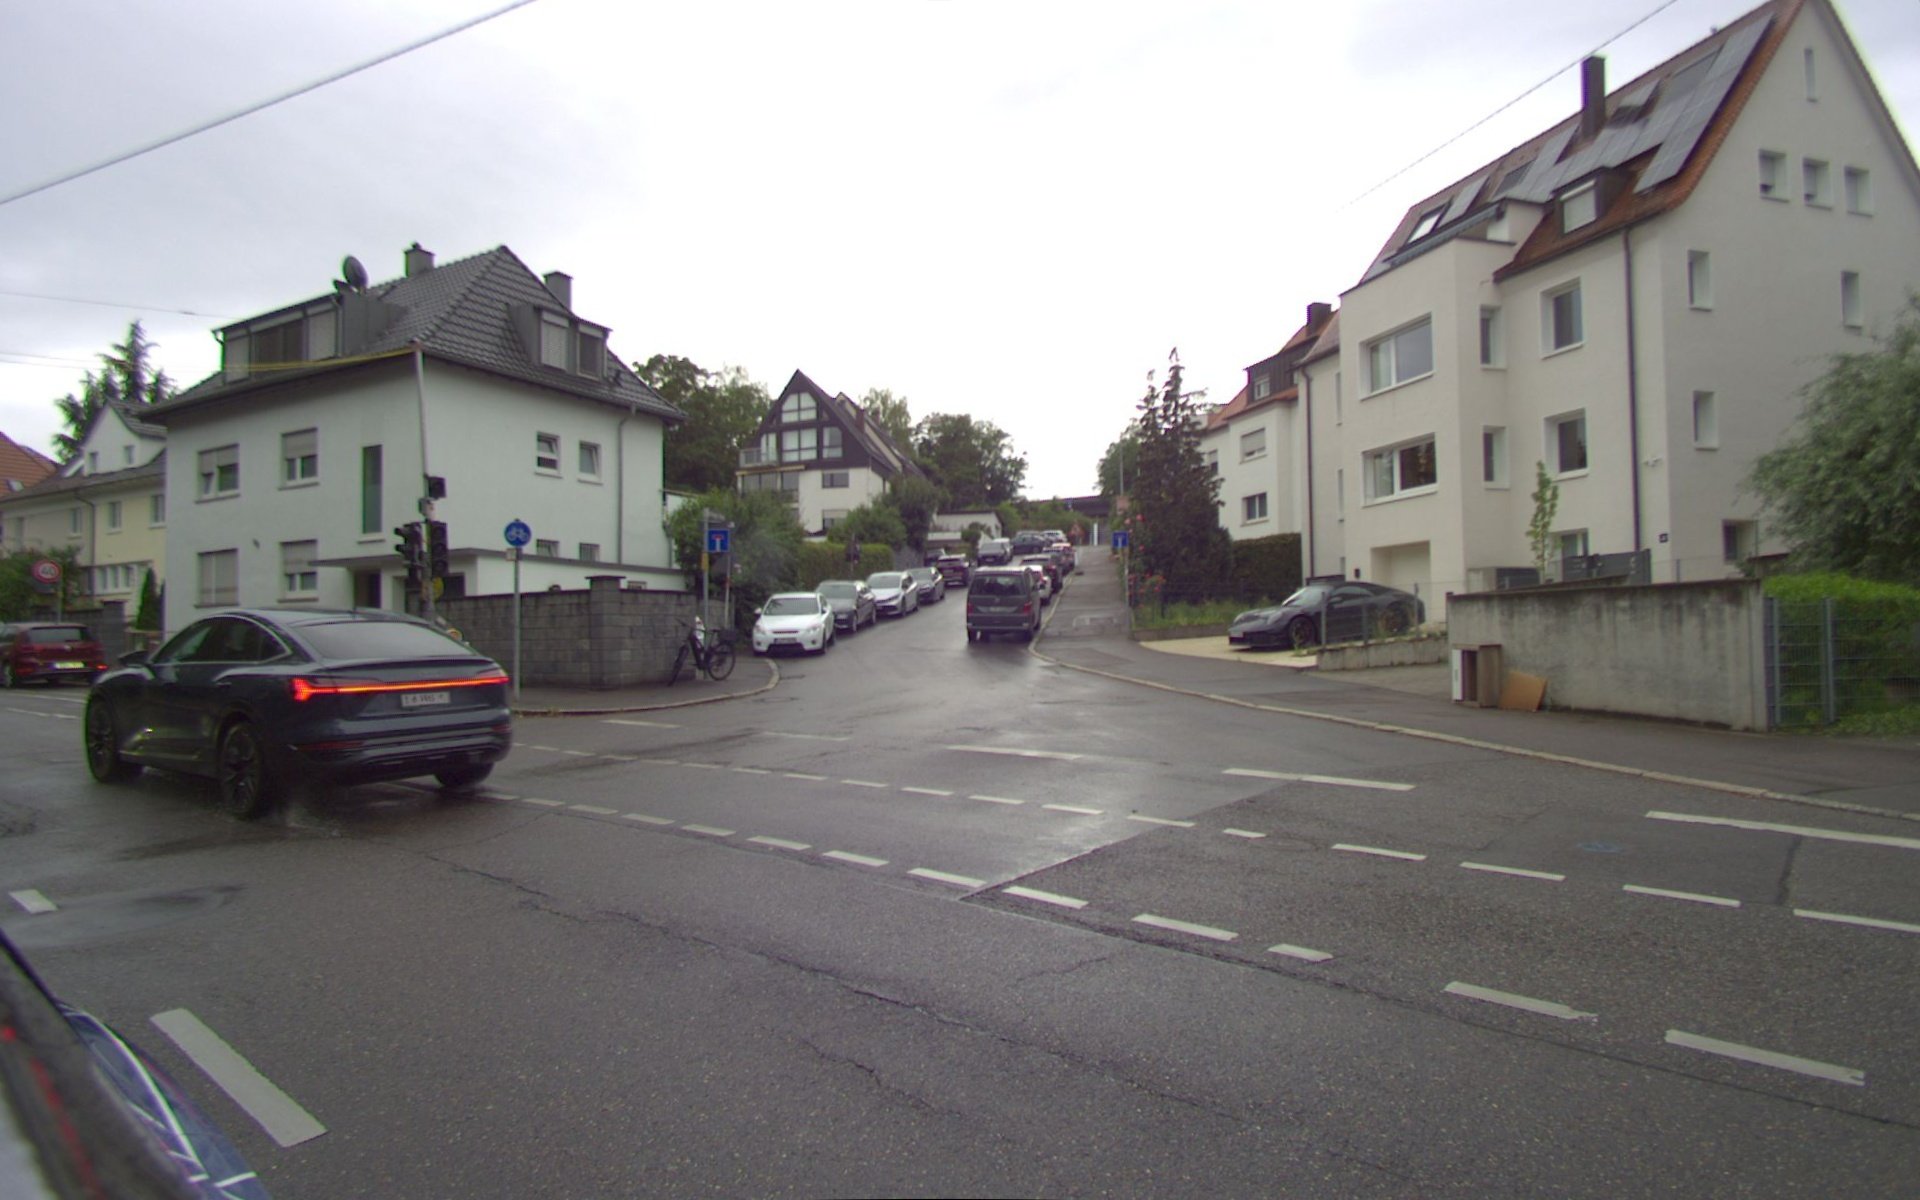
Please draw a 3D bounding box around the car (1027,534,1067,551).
[{"bbox_3d":[8.939,-5.898,103.911,3.782,1.529,1.664,-1,-1,15],"label":"car"}]

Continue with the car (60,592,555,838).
[{"bbox_3d":[-5.947,0.820,9.055,4.674,1.686,1.978,-1,0,33],"label":"car"}]

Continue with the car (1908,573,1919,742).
[{"bbox_3d":[10.602,0.423,8.545,3.934,1.497,1.780,-2,-1,-12],"label":"car"}]

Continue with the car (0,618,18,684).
[{"bbox_3d":[-26.155,1.321,25.772,4.131,1.653,1.782,-1,-1,25],"label":"car"}]

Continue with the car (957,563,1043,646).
[{"bbox_3d":[1.241,0.051,29.322,1.978,2.028,4.482,-1,4,9],"label":"car"}]

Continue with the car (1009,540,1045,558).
[{"bbox_3d":[5.553,-4.197,83.651,2.914,1.328,1.282,-1,0,4],"label":"car"}]

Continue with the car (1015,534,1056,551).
[{"bbox_3d":[7.391,-5.588,98.786,3.922,1.528,1.748,-1,0,6],"label":"car"}]

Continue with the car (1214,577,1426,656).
[{"bbox_3d":[7.705,0.334,21.769,3.942,1.290,1.613,-5,1,-13],"label":"car"}]

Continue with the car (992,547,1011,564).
[{"bbox_3d":[3.058,-3.325,74.708,1.292,1.206,2.980,-1,3,5],"label":"car"}]

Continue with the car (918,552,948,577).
[{"bbox_3d":[-1.827,-2.417,69.790,1.793,1.566,4.009,-1,0,3],"label":"car"}]

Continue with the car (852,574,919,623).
[{"bbox_3d":[-2.659,-0.083,37.084,1.738,1.481,3.940,-1,4,6],"label":"car"}]

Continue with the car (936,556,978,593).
[{"bbox_3d":[-0.115,-1.361,52.462,1.623,1.637,3.992,-1,5,8],"label":"car"}]

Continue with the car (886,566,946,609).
[{"bbox_3d":[-1.808,-0.552,42.957,1.903,1.448,4.100,-1,5,7],"label":"car"}]

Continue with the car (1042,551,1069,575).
[{"bbox_3d":[5.502,-2.142,58.108,1.274,1.325,2.984,-1,3,10],"label":"car"}]

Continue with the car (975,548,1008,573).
[{"bbox_3d":[2.195,-2.669,68.883,1.770,1.531,4.016,-1,0,9],"label":"car"}]

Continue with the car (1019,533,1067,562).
[{"bbox_3d":[7.202,-4.561,87.640,3.954,2.028,1.995,-5,-1,8],"label":"car"}]

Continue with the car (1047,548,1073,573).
[{"bbox_3d":[6.237,-2.446,62.845,1.488,1.373,3.465,-1,0,8],"label":"car"}]

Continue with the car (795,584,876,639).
[{"bbox_3d":[-3.829,0.321,31.815,1.702,1.397,3.900,-1,4,6],"label":"car"}]

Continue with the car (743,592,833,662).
[{"bbox_3d":[-4.355,0.626,26.153,1.827,1.473,4.124,-1,3,-3],"label":"car"}]

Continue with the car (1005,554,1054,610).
[{"bbox_3d":[2.818,-0.753,40.321,1.686,1.843,4.194,-1,6,7],"label":"car"}]

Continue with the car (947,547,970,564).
[{"bbox_3d":[-0.082,-3.257,74.018,1.559,1.220,3.650,-1,3,2],"label":"car"}]

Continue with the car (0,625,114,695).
[{"bbox_3d":[-21.470,1.337,23.380,3.833,1.443,1.768,-1,-1,30],"label":"car"}]

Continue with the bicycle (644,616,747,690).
[{"bbox_3d":[-4.788,0.933,18.454,0.508,1.249,1.984,1,0,32],"label":"bicycle"}]

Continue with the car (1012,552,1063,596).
[{"bbox_3d":[3.520,-1.192,45.373,1.823,1.699,4.039,-1,5,11],"label":"car"}]
